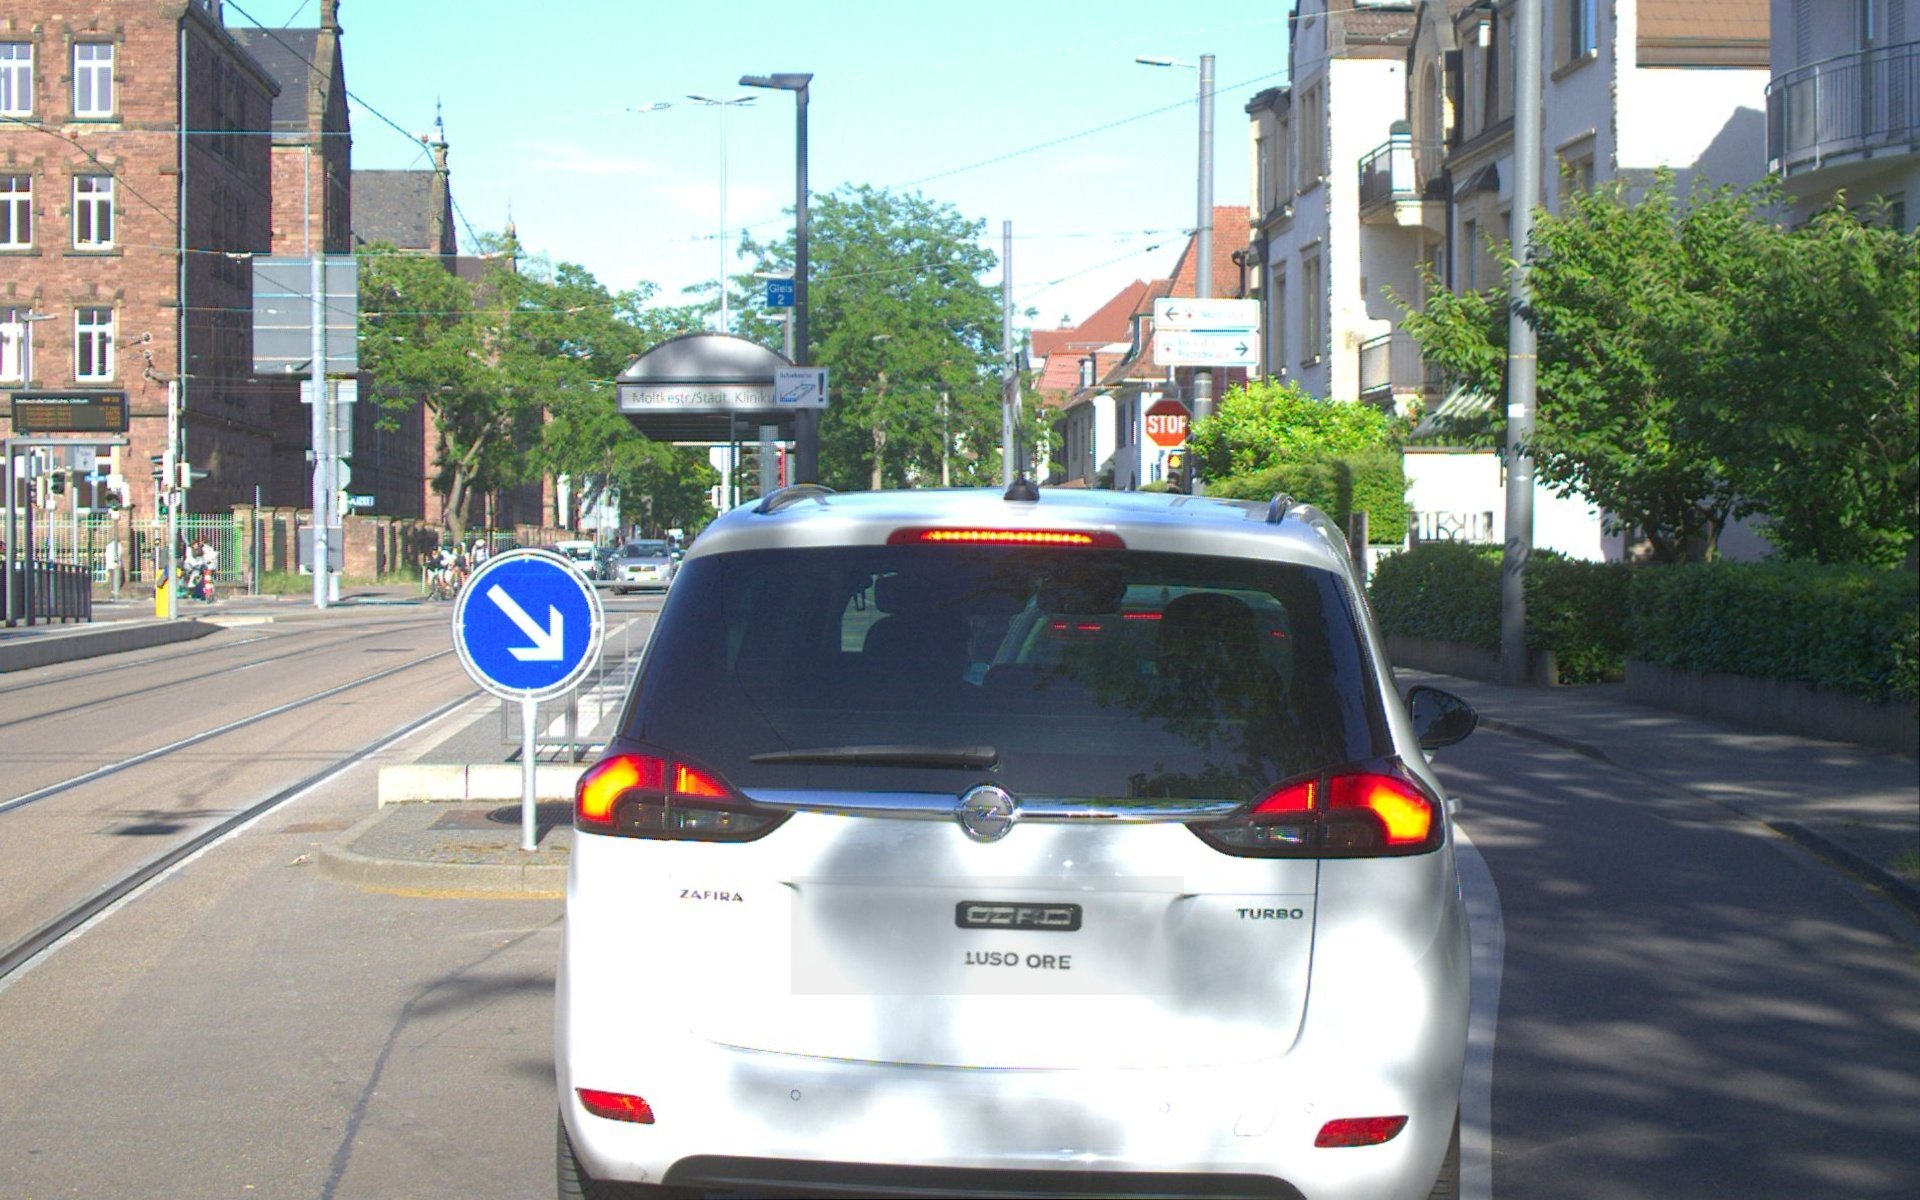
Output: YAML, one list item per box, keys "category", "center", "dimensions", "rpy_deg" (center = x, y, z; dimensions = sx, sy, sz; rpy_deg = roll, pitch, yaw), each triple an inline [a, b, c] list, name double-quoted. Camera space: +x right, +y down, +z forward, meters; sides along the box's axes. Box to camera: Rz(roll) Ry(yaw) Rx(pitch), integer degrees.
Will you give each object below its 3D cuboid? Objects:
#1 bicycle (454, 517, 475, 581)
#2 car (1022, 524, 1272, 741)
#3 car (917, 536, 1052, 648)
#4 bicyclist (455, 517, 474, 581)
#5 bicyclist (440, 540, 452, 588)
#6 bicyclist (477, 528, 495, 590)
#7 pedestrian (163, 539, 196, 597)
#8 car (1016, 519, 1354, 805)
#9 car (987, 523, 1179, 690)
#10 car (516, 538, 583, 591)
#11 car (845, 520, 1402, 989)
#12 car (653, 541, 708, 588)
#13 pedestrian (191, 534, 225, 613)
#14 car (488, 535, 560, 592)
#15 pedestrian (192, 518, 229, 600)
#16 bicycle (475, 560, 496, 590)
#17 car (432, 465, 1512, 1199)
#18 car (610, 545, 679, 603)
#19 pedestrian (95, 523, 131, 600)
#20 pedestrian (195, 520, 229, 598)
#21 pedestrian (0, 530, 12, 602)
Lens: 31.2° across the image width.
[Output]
- category: "bicycle"
  center: [-15.701, -1.621, 108.910]
  dimensions: [0.487, 2.007, 1.405]
  rpy_deg: [0, 1, 0]
- category: "car"
  center: [1.569, 0.211, 28.277]
  dimensions: [1.907, 1.656, 4.000]
  rpy_deg: [0, 1, 4]
- category: "car"
  center: [0.341, -0.159, 53.092]
  dimensions: [1.907, 1.656, 4.001]
  rpy_deg: [0, 1, -2]
- category: "bicyclist"
  center: [-15.699, -1.621, 108.943]
  dimensions: [0.498, 2.007, 0.572]
  rpy_deg: [0, 1, -1]
- category: "bicyclist"
  center: [-15.351, -1.076, 102.630]
  dimensions: [0.313, 1.439, 0.384]
  rpy_deg: [0, 1, -1]
- category: "bicyclist"
  center: [-15.376, -1.321, 111.484]
  dimensions: [0.488, 2.007, 0.502]
  rpy_deg: [1, 0, -1]
- category: "pedestrian"
  center: [-21.594, -0.885, 95.124]
  dimensions: [0.654, 1.606, 0.711]
  rpy_deg: [1, 0, 7]
- category: "car"
  center: [1.506, 0.314, 21.617]
  dimensions: [1.907, 1.619, 3.999]
  rpy_deg: [0, 1, 7]
- category: "car"
  center: [1.246, 0.029, 36.114]
  dimensions: [1.907, 1.656, 4.000]
  rpy_deg: [0, 1, 1]
- category: "car"
  center: [-13.551, -1.173, 113.715]
  dimensions: [1.746, 1.710, 4.000]
  rpy_deg: [1, 1, -1]
- category: "car"
  center: [0.784, 0.488, 13.777]
  dimensions: [1.907, 1.592, 3.999]
  rpy_deg: [0, 1, 7]
- category: "car"
  center: [-10.487, -1.316, 129.072]
  dimensions: [1.746, 1.710, 4.000]
  rpy_deg: [1, 1, -1]
- category: "pedestrian"
  center: [-19.246, -0.686, 87.973]
  dimensions: [0.794, 2.007, 1.047]
  rpy_deg: [1, 0, -15]
- category: "car"
  center: [-13.413, -1.127, 105.993]
  dimensions: [1.746, 1.710, 4.000]
  rpy_deg: [1, 1, -1]
- category: "pedestrian"
  center: [-18.526, -1.015, 84.977]
  dimensions: [0.794, 2.007, 0.721]
  rpy_deg: [1, 0, -17]
- category: "bicycle"
  center: [-15.378, -0.809, 111.517]
  dimensions: [0.487, 0.968, 1.405]
  rpy_deg: [1, 1, 0]
- category: "car"
  center: [0.235, 0.555, 8.033]
  dimensions: [1.907, 1.656, 3.999]
  rpy_deg: [0, 1, 7]
- category: "car"
  center: [-9.609, -0.811, 104.865]
  dimensions: [1.746, 1.710, 4.000]
  rpy_deg: [1, 1, -1]
- category: "pedestrian"
  center: [-22.179, -1.004, 90.047]
  dimensions: [0.691, 2.007, 0.616]
  rpy_deg: [1, 1, 42]
- category: "pedestrian"
  center: [-19.413, -1.075, 89.233]
  dimensions: [0.794, 2.007, 0.721]
  rpy_deg: [1, 0, -15]
- category: "pedestrian"
  center: [-23.852, -0.841, 84.975]
  dimensions: [0.766, 1.768, 0.721]
  rpy_deg: [1, 0, -17]
